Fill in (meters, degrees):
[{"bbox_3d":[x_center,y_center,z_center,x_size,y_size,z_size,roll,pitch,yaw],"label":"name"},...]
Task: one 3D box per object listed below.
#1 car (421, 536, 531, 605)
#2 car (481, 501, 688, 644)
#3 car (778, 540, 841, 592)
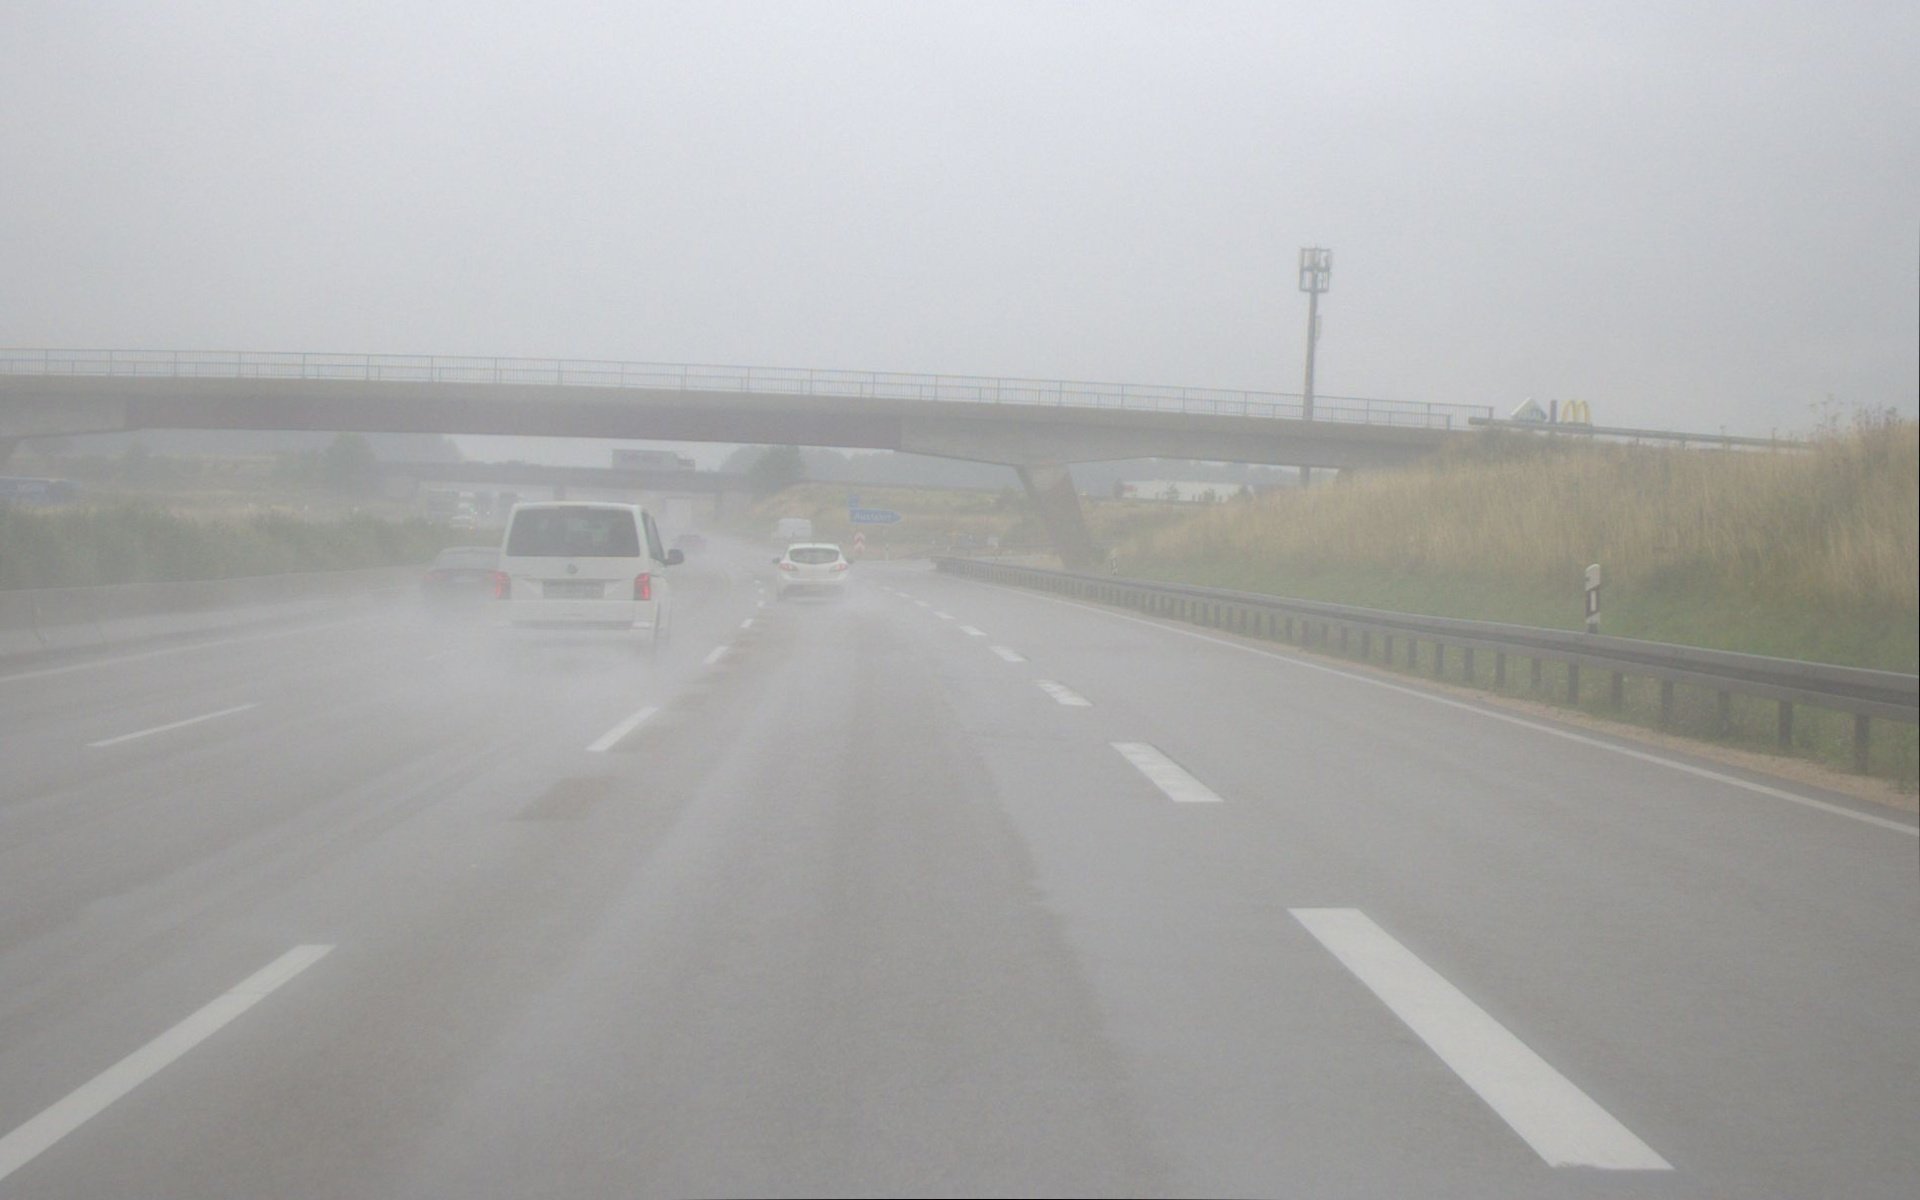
[{"bbox_3d":[-9.154,-0.568,65.246,1.468,1.253,3.340,1,1,3],"label":"car"},{"bbox_3d":[-4.428,-0.338,41.047,1.897,1.580,4.000,1,1,2],"label":"car"},{"bbox_3d":[-3.613,-0.820,82.365,1.467,1.204,2.992,1,1,-3],"label":"car"}]
